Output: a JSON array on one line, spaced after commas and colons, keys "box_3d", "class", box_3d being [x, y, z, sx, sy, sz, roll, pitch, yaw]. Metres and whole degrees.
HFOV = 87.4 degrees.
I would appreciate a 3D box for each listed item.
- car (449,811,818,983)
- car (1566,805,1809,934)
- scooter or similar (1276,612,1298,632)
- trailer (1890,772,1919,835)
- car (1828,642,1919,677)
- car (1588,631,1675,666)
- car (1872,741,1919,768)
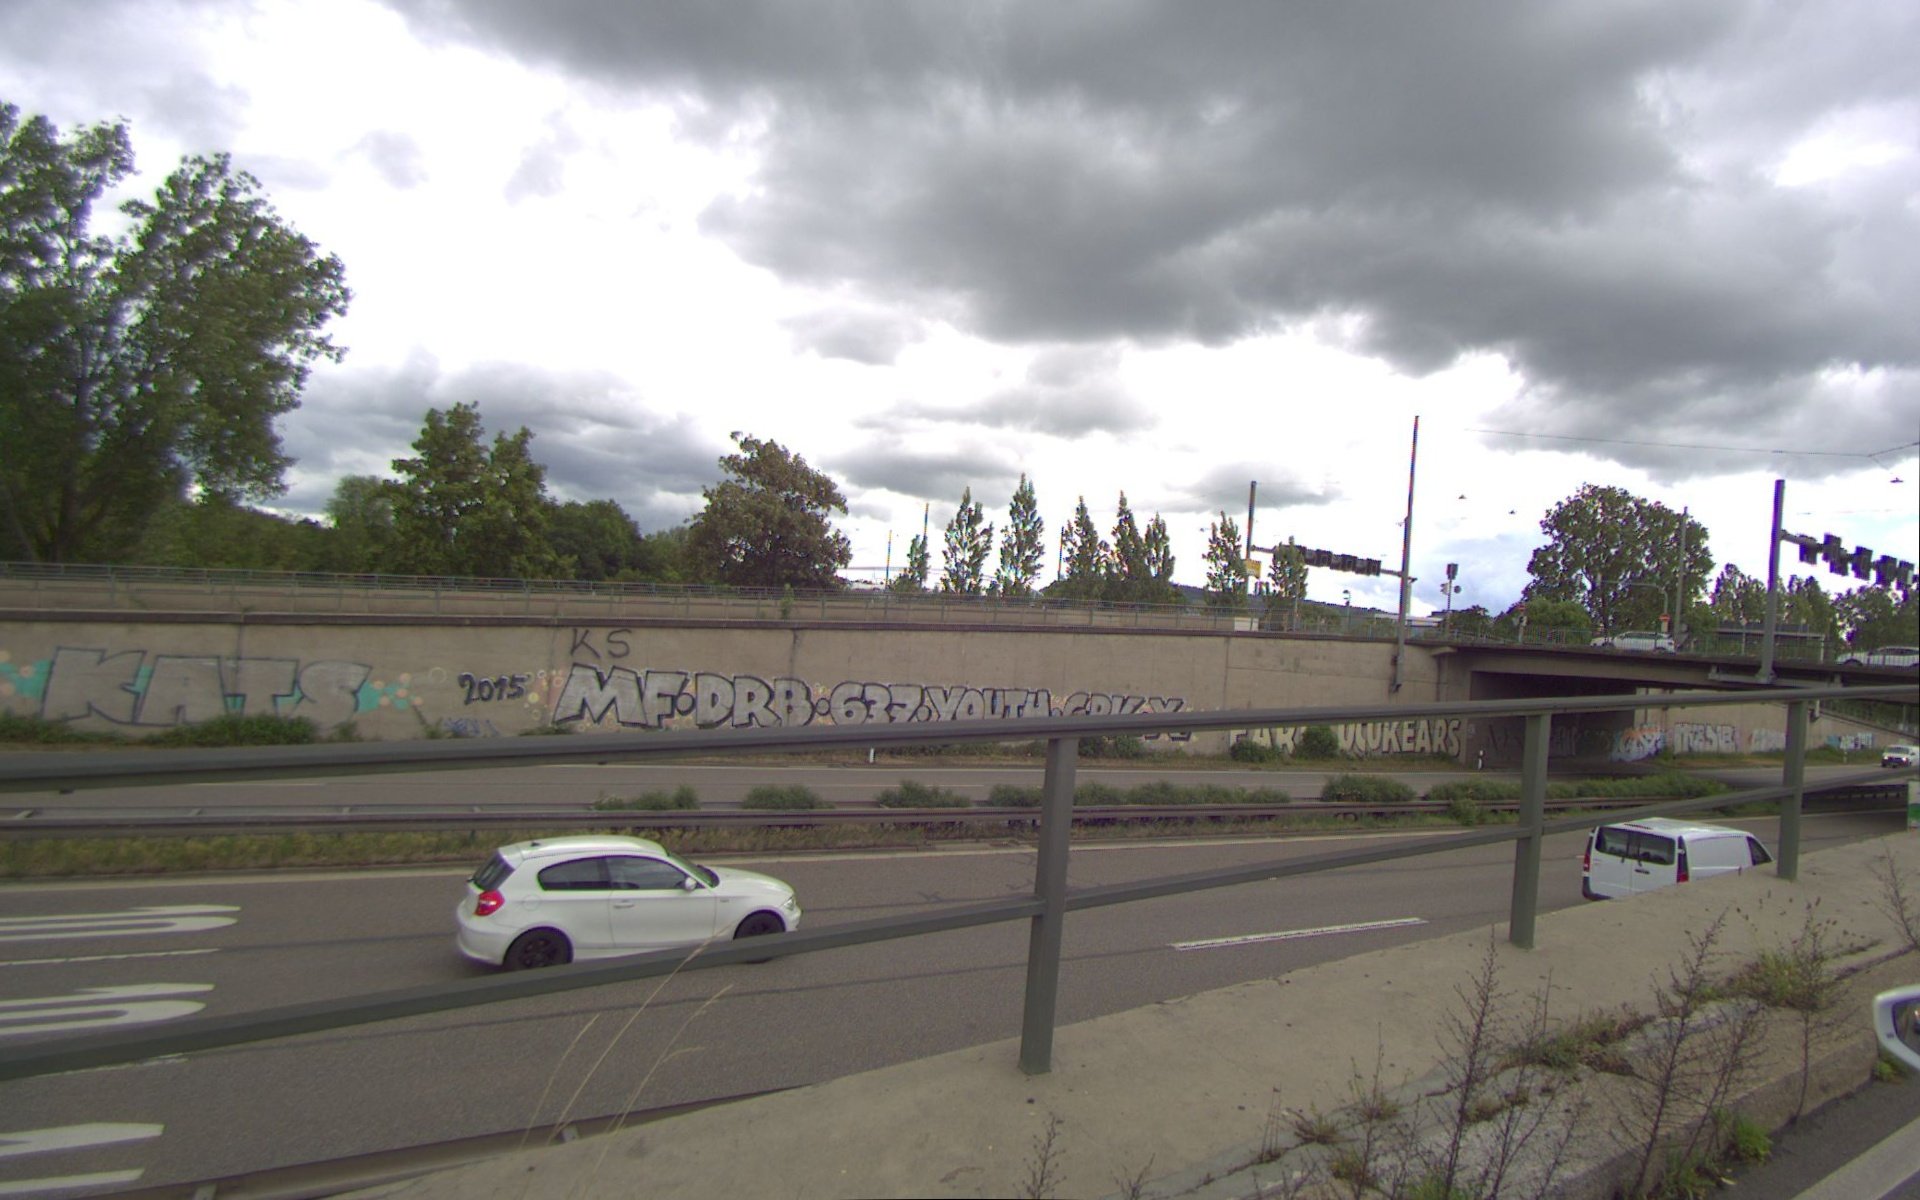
[{"box_3d": [-4.088, 3.618, 12.772, 4.119, 1.470, 1.734, 6, -3, -31], "class": "car"}, {"box_3d": [14.584, 5.246, 20.052, 5.141, 1.900, 1.984, 7, -3, -30], "class": "car"}, {"box_3d": [20.085, 1.367, 61.749, 1.403, 1.108, 0.539, 5, -2, -36], "class": "scooter or similar"}, {"box_3d": [36.786, 7.718, 37.635, 3.892, 2.156, 1.720, 7, -2, -30], "class": "trailer"}, {"box_3d": [48.608, 3.122, 52.697, 1.820, 1.597, 4.304, 2, -1, -34], "class": "car"}, {"box_3d": [40.467, 2.884, 60.659, 4.136, 1.895, 1.997, 2, 0, 29], "class": "car"}, {"box_3d": [83.047, 13.693, 89.109, 5.126, 2.093, 1.981, 6, -2, -34], "class": "car"}]
